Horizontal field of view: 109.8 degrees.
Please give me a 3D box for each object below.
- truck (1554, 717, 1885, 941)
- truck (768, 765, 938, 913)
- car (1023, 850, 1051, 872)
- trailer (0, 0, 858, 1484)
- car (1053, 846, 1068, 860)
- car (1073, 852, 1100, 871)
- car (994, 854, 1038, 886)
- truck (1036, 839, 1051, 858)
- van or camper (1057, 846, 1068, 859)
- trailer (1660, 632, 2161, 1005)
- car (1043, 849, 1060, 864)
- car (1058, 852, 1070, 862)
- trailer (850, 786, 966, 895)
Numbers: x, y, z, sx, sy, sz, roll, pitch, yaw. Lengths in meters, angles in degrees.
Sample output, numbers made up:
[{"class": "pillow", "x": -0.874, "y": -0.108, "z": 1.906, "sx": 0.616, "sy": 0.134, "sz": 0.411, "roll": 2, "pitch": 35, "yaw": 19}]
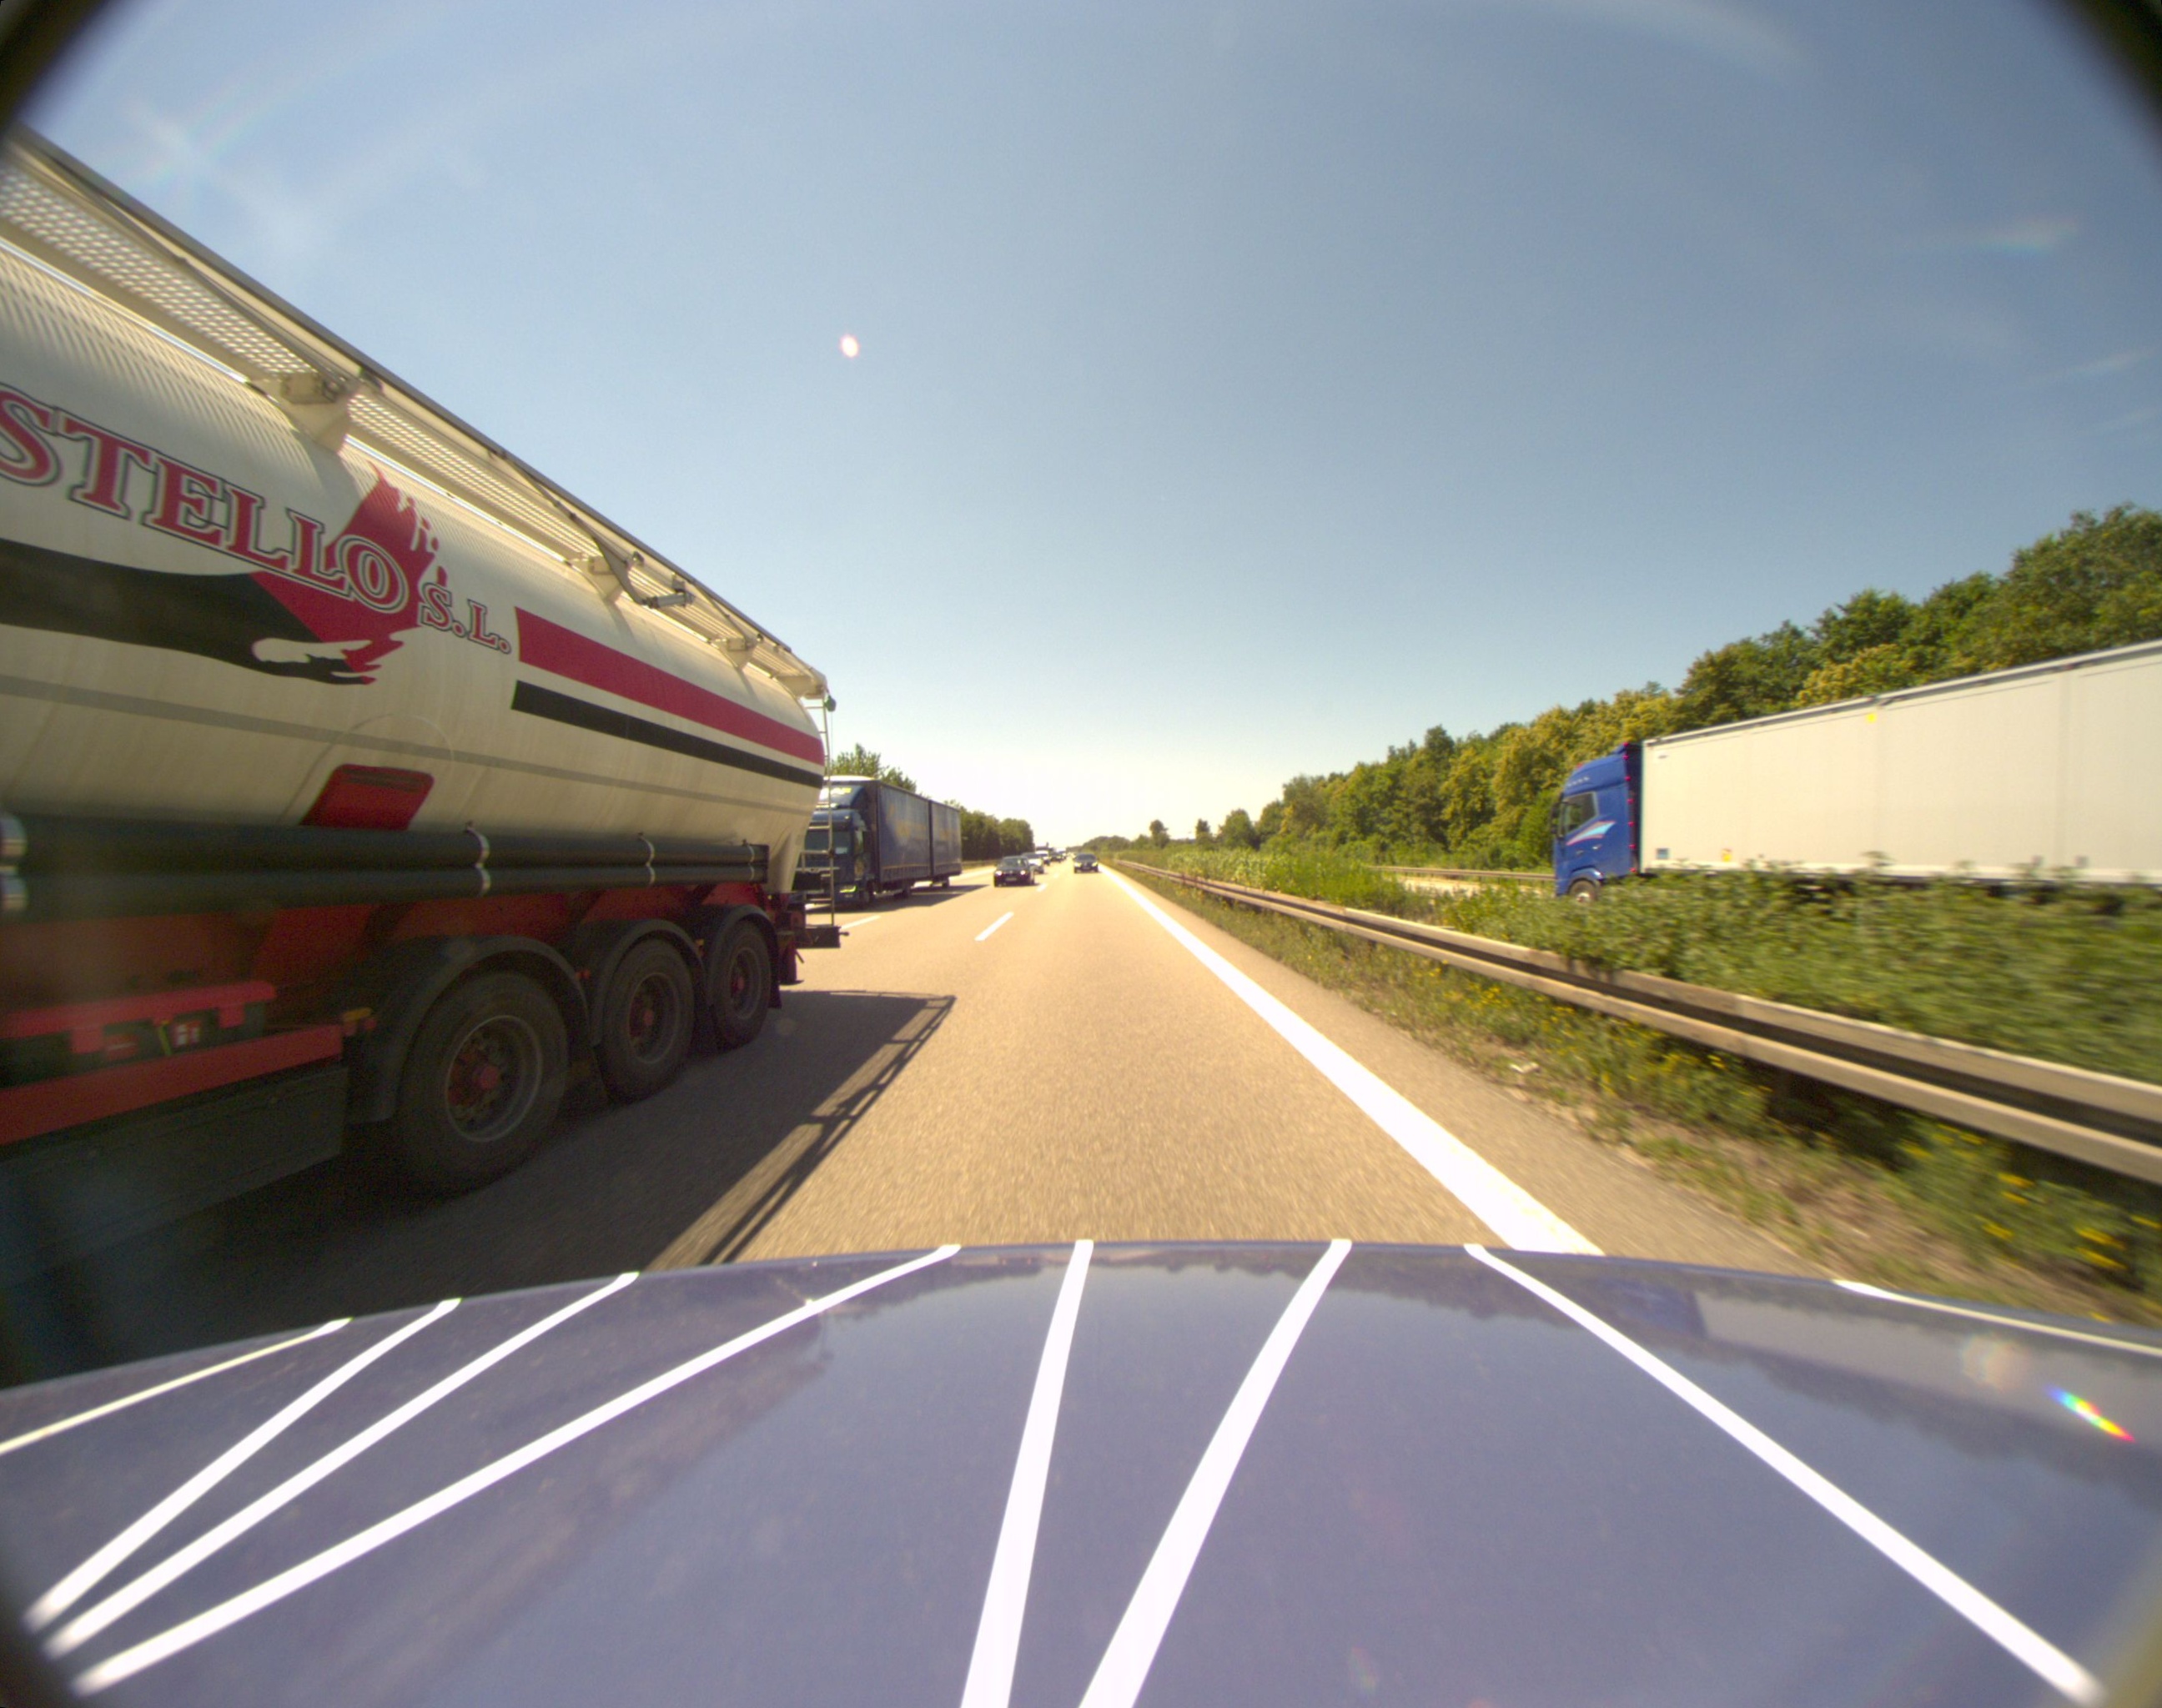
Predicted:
[{"class": "truck", "x": 13.073, "y": -0.458, "z": 16.204, "sx": 2.877, "sy": 3.986, "sz": 5.000, "roll": -1, "pitch": 1, "yaw": 1}, {"class": "truck", "x": -7.518, "y": -0.450, "z": 27.056, "sx": 2.797, "sy": 4.180, "sz": 10.805, "roll": -1, "pitch": 0, "yaw": 0}, {"class": "car", "x": -3.332, "y": 0.495, "z": 57.889, "sx": 1.887, "sy": 1.634, "sz": 3.999, "roll": -1, "pitch": 0, "yaw": -1}, {"class": "trailer", "x": -4.219, "y": -0.436, "z": 2.735, "sx": 2.797, "sy": 4.180, "sz": 12.353, "roll": -1, "pitch": 0, "yaw": 2}, {"class": "car", "x": -3.079, "y": -0.173, "z": 113.738, "sx": 1.998, "sy": 2.002, "sz": 4.000, "roll": 1, "pitch": 1, "yaw": 1}, {"class": "car", "x": 0.378, "y": 0.541, "z": 57.455, "sx": 1.887, "sy": 1.341, "sz": 4.467, "roll": -1, "pitch": 0, "yaw": -1}, {"class": "car", "x": -3.157, "y": 0.743, "z": 37.763, "sx": 1.841, "sy": 1.409, "sz": 4.496, "roll": -1, "pitch": 0, "yaw": -1}, {"class": "truck", "x": -8.154, "y": -1.192, "z": 168.072, "sx": 2.797, "sy": 4.180, "sz": 10.805, "roll": -1, "pitch": 0, "yaw": 0}, {"class": "van or camper", "x": -3.846, "y": -0.333, "z": 160.080, "sx": 2.198, "sy": 2.796, "sz": 6.999, "roll": -1, "pitch": 0, "yaw": 0}, {"class": "trailer", "x": 13.001, "y": -0.399, "z": 8.489, "sx": 2.877, "sy": 3.986, "sz": 13.517, "roll": -1, "pitch": 0, "yaw": 1}, {"class": "car", "x": -3.630, "y": 0.295, "z": 92.974, "sx": 1.887, "sy": 1.861, "sz": 4.467, "roll": -1, "pitch": 0, "yaw": -1}, {"class": "car", "x": -2.986, "y": 0.524, "z": 134.149, "sx": 1.887, "sy": 1.557, "sz": 4.466, "roll": -1, "pitch": 0, "yaw": -3}, {"class": "trailer", "x": -7.522, "y": -0.546, "z": 34.878, "sx": 2.797, "sy": 4.180, "sz": 10.805, "roll": -1, "pitch": 0, "yaw": 0}]
